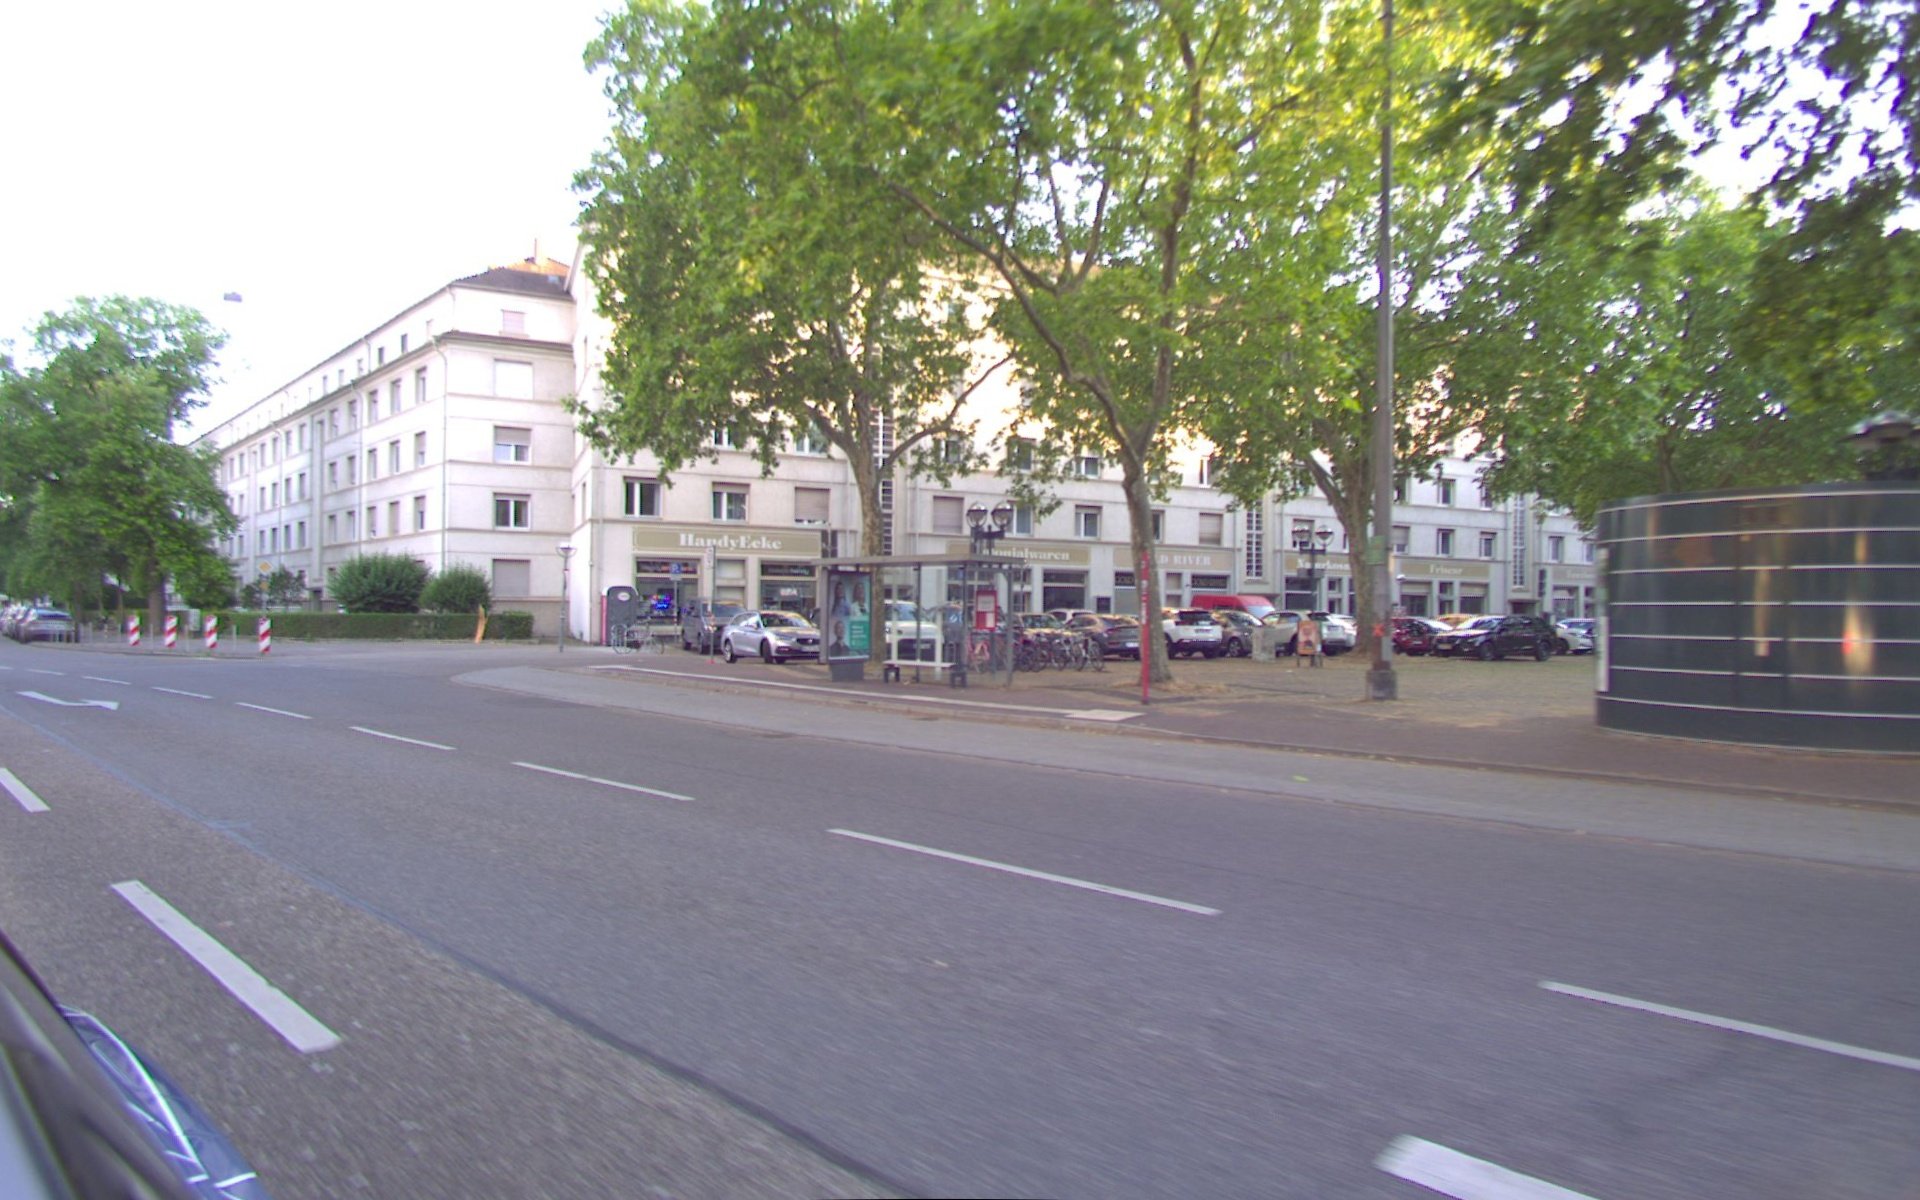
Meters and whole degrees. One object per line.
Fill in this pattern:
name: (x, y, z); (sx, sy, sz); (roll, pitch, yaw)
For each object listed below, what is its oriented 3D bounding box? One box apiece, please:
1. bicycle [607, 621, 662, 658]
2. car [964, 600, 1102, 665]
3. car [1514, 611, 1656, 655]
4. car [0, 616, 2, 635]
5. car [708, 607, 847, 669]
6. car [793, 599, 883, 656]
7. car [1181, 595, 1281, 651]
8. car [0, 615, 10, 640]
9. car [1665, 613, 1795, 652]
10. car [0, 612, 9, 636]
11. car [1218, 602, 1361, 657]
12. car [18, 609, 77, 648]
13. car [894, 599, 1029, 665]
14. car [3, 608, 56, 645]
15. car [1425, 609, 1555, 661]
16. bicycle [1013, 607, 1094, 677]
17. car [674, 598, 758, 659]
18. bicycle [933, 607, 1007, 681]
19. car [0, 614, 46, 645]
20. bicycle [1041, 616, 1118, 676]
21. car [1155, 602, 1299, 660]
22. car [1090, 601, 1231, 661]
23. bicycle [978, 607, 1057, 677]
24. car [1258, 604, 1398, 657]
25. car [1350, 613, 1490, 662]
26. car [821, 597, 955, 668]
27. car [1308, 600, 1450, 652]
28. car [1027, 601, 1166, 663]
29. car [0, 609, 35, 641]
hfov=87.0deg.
bicycle: (-10.974, 1.323, 34.174); (1.776, 1.215, 0.649); (0, 0, -16)
car: (2.101, 1.017, 30.568); (1.965, 1.795, 4.655); (2, -3, -28)
car: (26.036, 1.418, 42.347); (1.965, 1.748, 4.655); (2, -3, -28)
car: (-86.820, 2.307, 90.376); (1.866, 1.612, 4.263); (0, 0, -44)
car: (-5.031, 1.055, 27.374); (1.967, 1.515, 4.652); (2, -3, -34)
car: (-4.767, 1.011, 38.896); (1.965, 1.970, 4.656); (2, 0, -26)
car: (12.923, 1.066, 48.569); (1.965, 2.460, 4.656); (2, 0, -26)
car: (-75.818, 2.157, 79.384); (1.866, 1.840, 4.263); (0, 0, -44)
car: (36.959, 1.585, 48.674); (1.968, 1.748, 4.648); (3, -4, -40)
car: (-79.878, 1.987, 83.627); (1.866, 1.879, 4.263); (0, 0, -44)
car: (11.378, 1.069, 35.270); (1.965, 1.795, 4.655); (2, -3, -28)
car: (-41.238, 1.244, 45.704); (1.866, 1.612, 4.003); (0, 0, -44)
car: (-0.059, 0.977, 29.675); (1.965, 1.795, 4.655); (2, -3, -28)
car: (-47.058, 1.297, 51.156); (1.866, 1.703, 4.263); (0, 0, -44)
car: (16.942, 1.106, 32.346); (3.696, 1.540, 1.680); (1, 0, -23)
bicycle: (2.329, 1.018, 25.603); (0.795, 1.626, 2.754); (0, 0, -24)
car: (-8.880, 0.980, 36.573); (1.965, 1.970, 4.656); (2, 0, -26)
bicycle: (0.204, 0.996, 24.171); (0.680, 1.626, 2.754); (0, 0, -24)
car: (-52.239, 1.610, 56.356); (1.866, 1.612, 4.263); (0, 0, -44)
bicycle: (3.042, 1.143, 26.113); (0.680, 1.394, 2.754); (0, 0, -24)
car: (8.799, 1.069, 33.783); (1.965, 1.795, 4.655); (2, -3, -28)
car: (6.344, 1.041, 32.611); (1.965, 1.795, 4.655); (2, -3, -28)
bicycle: (1.388, 0.992, 25.092); (0.795, 1.626, 2.754); (0, 0, -24)
car: (13.226, 1.142, 36.681); (1.965, 1.795, 4.655); (2, -3, -28)
car: (17.587, 1.470, 38.930); (1.965, 1.748, 4.655); (2, -3, -28)
car: (-2.111, 0.943, 28.228); (1.965, 1.795, 4.655); (2, -3, -28)
car: (15.400, 1.025, 37.481); (1.965, 1.795, 4.655); (2, -3, -28)
car: (4.161, 1.033, 31.639); (1.965, 1.795, 4.655); (2, -3, -28)
car: (-56.556, 1.487, 60.460); (1.866, 1.787, 4.263); (0, 0, -44)
